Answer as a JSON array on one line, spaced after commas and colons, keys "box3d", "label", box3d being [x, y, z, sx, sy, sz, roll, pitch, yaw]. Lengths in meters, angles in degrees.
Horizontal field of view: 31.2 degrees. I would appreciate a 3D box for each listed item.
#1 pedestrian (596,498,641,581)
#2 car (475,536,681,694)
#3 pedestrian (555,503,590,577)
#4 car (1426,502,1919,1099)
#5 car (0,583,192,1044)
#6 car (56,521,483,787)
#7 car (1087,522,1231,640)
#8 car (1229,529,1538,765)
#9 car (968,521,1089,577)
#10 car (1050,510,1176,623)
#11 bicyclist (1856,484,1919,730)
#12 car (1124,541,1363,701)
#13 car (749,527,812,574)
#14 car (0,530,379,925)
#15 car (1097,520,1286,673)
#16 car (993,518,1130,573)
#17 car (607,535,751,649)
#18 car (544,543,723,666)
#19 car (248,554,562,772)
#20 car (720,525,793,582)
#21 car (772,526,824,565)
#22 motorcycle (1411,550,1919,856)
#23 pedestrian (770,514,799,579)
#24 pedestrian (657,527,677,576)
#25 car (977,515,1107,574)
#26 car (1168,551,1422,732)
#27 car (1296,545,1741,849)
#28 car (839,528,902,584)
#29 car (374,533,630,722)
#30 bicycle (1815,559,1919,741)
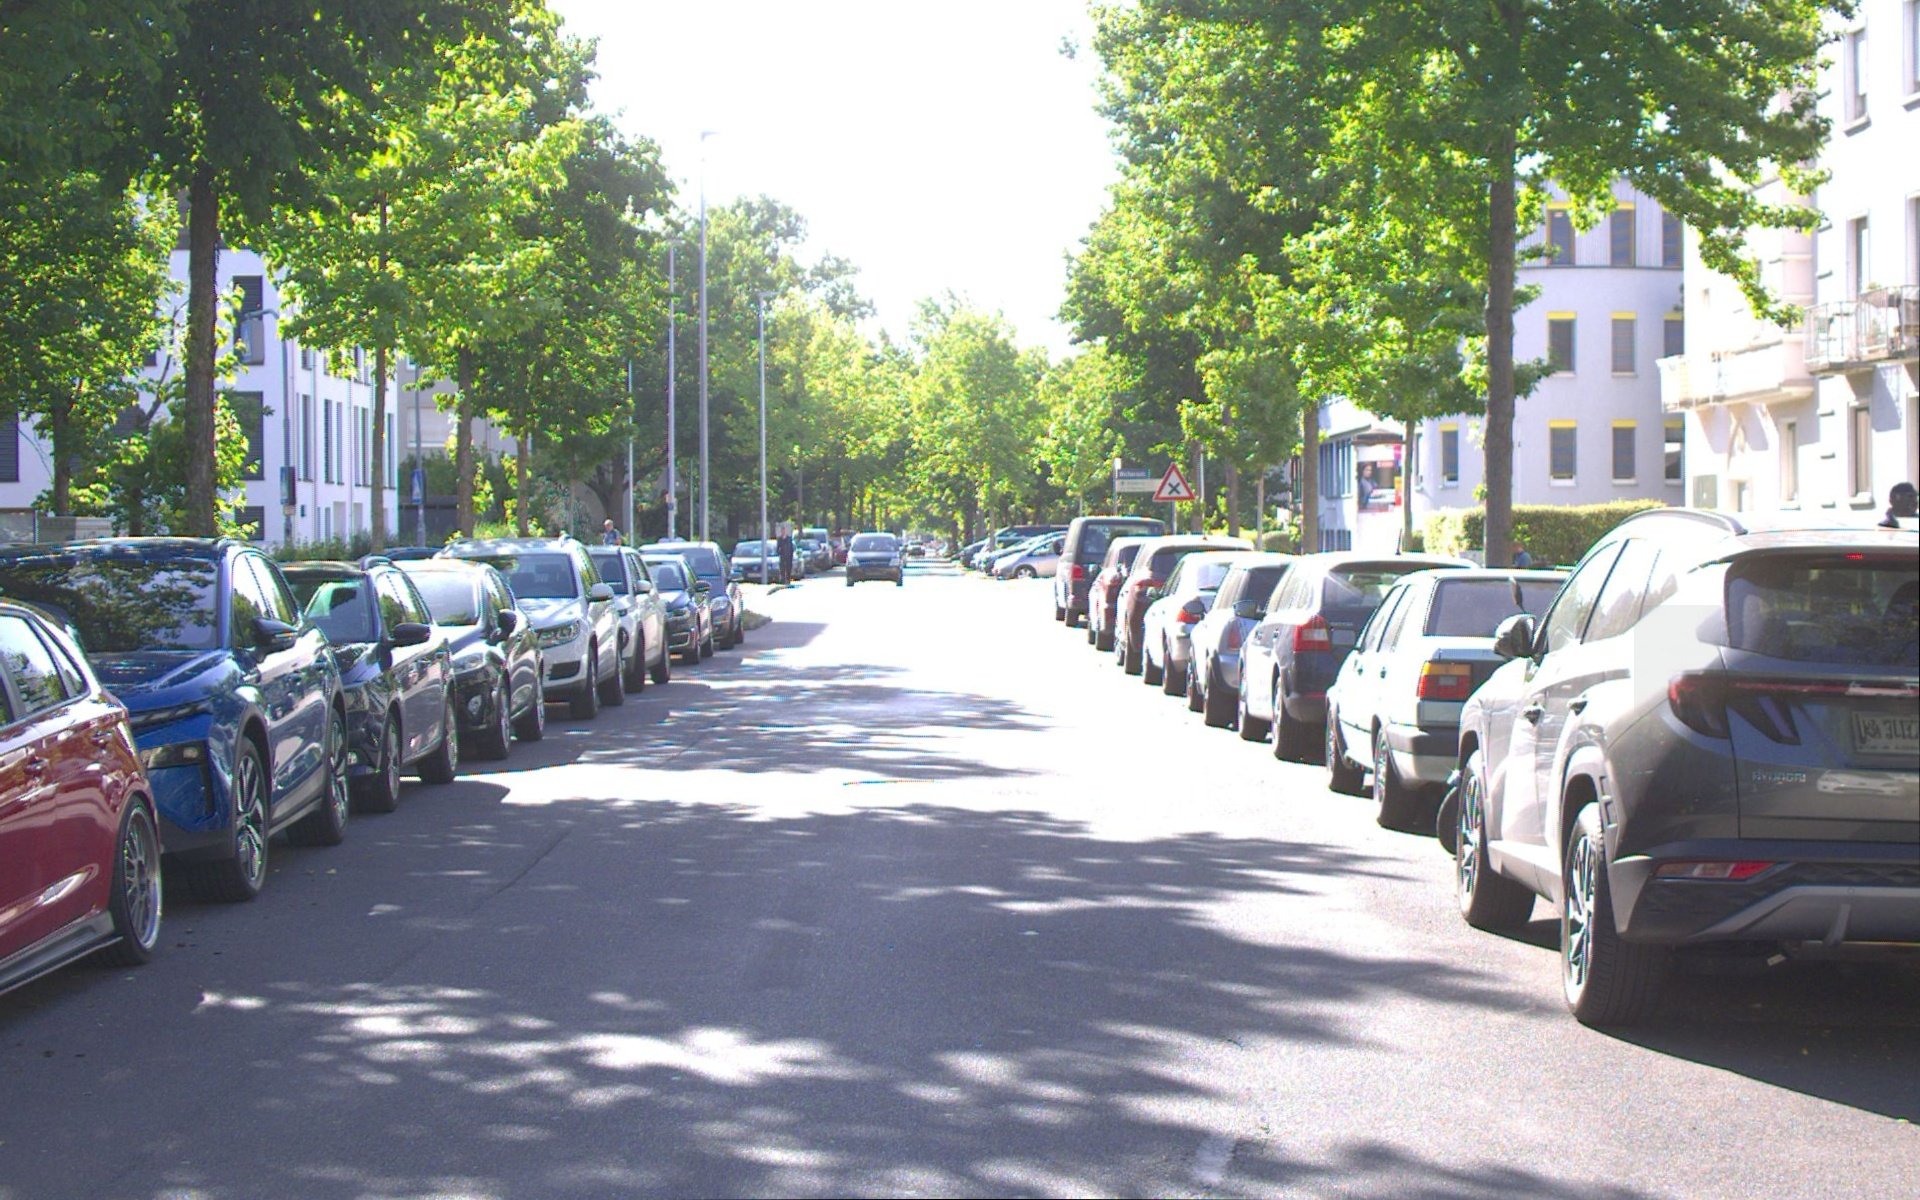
[{"box3d": [-8.346, -1.481, 84.038, 0.859, 2.007, 0.981, -1, 1, 8], "label": "pedestrian"}, {"box3d": [-4.086, 0.116, 37.296, 1.710, 1.539, 3.930, -3, 1, 0], "label": "car"}, {"box3d": [-10.629, -1.661, 94.268, 0.859, 2.007, 0.981, -1, 1, -2], "label": "pedestrian"}, {"box3d": [2.917, 0.507, 12.107, 1.926, 1.646, 5.095, 1, 1, 1], "label": "car"}, {"box3d": [-3.861, 0.705, 11.006, 1.779, 1.374, 4.263, -2, 1, 0], "label": "car"}, {"box3d": [-4.170, 0.264, 21.412, 1.829, 1.448, 4.123, -2, 1, -1], "label": "car"}, {"box3d": [2.857, -0.312, 50.082, 1.834, 1.594, 4.158, 2, 1, 0], "label": "car"}, {"box3d": [3.015, 0.269, 25.264, 1.692, 1.535, 4.441, 1, 2, 0], "label": "car"}, {"box3d": [2.325, -1.746, 117.188, 3.986, 1.824, 2.000, -1, 1, -2], "label": "car"}, {"box3d": [2.723, -0.635, 62.306, 1.971, 1.942, 4.986, -1, 1, -1], "label": "car"}, {"box3d": [6.482, 0.033, 22.987, 0.677, 1.604, 0.922, -1, 1, -4], "label": "bicyclist"}, {"box3d": [2.853, 0.169, 35.552, 1.897, 1.469, 4.700, 2, 1, -2], "label": "car"}, {"box3d": [-6.334, -1.757, 121.489, 1.993, 1.579, 4.000, -1, 1, 0], "label": "car"}, {"box3d": [-3.956, 0.503, 16.365, 1.789, 1.561, 4.466, -3, 1, -3], "label": "car"}, {"box3d": [2.753, -0.094, 41.848, 1.907, 1.693, 4.314, 2, 1, -1], "label": "car"}, {"box3d": [3.084, -1.663, 104.640, 3.986, 1.581, 1.727, -1, 1, -4], "label": "car"}, {"box3d": [-4.210, -0.156, 52.078, 1.839, 1.589, 4.262, -2, 1, -1], "label": "car"}, {"box3d": [-4.314, 0.021, 46.010, 1.993, 1.448, 4.262, -3, 1, -1], "label": "car"}, {"box3d": [-4.133, 0.417, 26.162, 1.762, 1.439, 3.909, -2, 1, -1], "label": "car"}, {"box3d": [-6.261, -1.453, 106.203, 1.993, 1.665, 4.000, -1, 1, 0], "label": "car"}, {"box3d": [-6.738, -2.274, 143.273, 1.993, 1.579, 4.000, -1, 1, 0], "label": "car"}, {"box3d": [3.402, 0.482, 16.585, 2.351, 1.418, 0.687, -1, 1, -1], "label": "motorcycle"}, {"box3d": [-5.143, -1.562, 100.577, 0.715, 1.894, 0.837, -1, 1, -10], "label": "pedestrian"}, {"box3d": [-11.534, -1.923, 135.373, 0.762, 1.894, 0.819, -1, 1, -7], "label": "pedestrian"}, {"box3d": [2.604, -1.778, 109.859, 3.986, 1.799, 1.890, -1, 1, -2], "label": "car"}, {"box3d": [2.850, 0.312, 29.974, 1.788, 1.448, 3.782, 0, 1, -1], "label": "car"}, {"box3d": [3.044, 0.455, 19.625, 1.750, 1.449, 4.462, 2, 1, 0], "label": "car"}, {"box3d": [-2.670, -1.306, 101.758, 1.783, 1.603, 4.001, -1, 1, -2], "label": "car"}, {"box3d": [-4.140, 0.195, 31.692, 1.811, 1.590, 4.233, -1, 1, -1], "label": "car"}, {"box3d": [6.472, 0.312, 23.157, 0.683, 1.149, 2.403, -1, 1, -3], "label": "bicycle"}]
